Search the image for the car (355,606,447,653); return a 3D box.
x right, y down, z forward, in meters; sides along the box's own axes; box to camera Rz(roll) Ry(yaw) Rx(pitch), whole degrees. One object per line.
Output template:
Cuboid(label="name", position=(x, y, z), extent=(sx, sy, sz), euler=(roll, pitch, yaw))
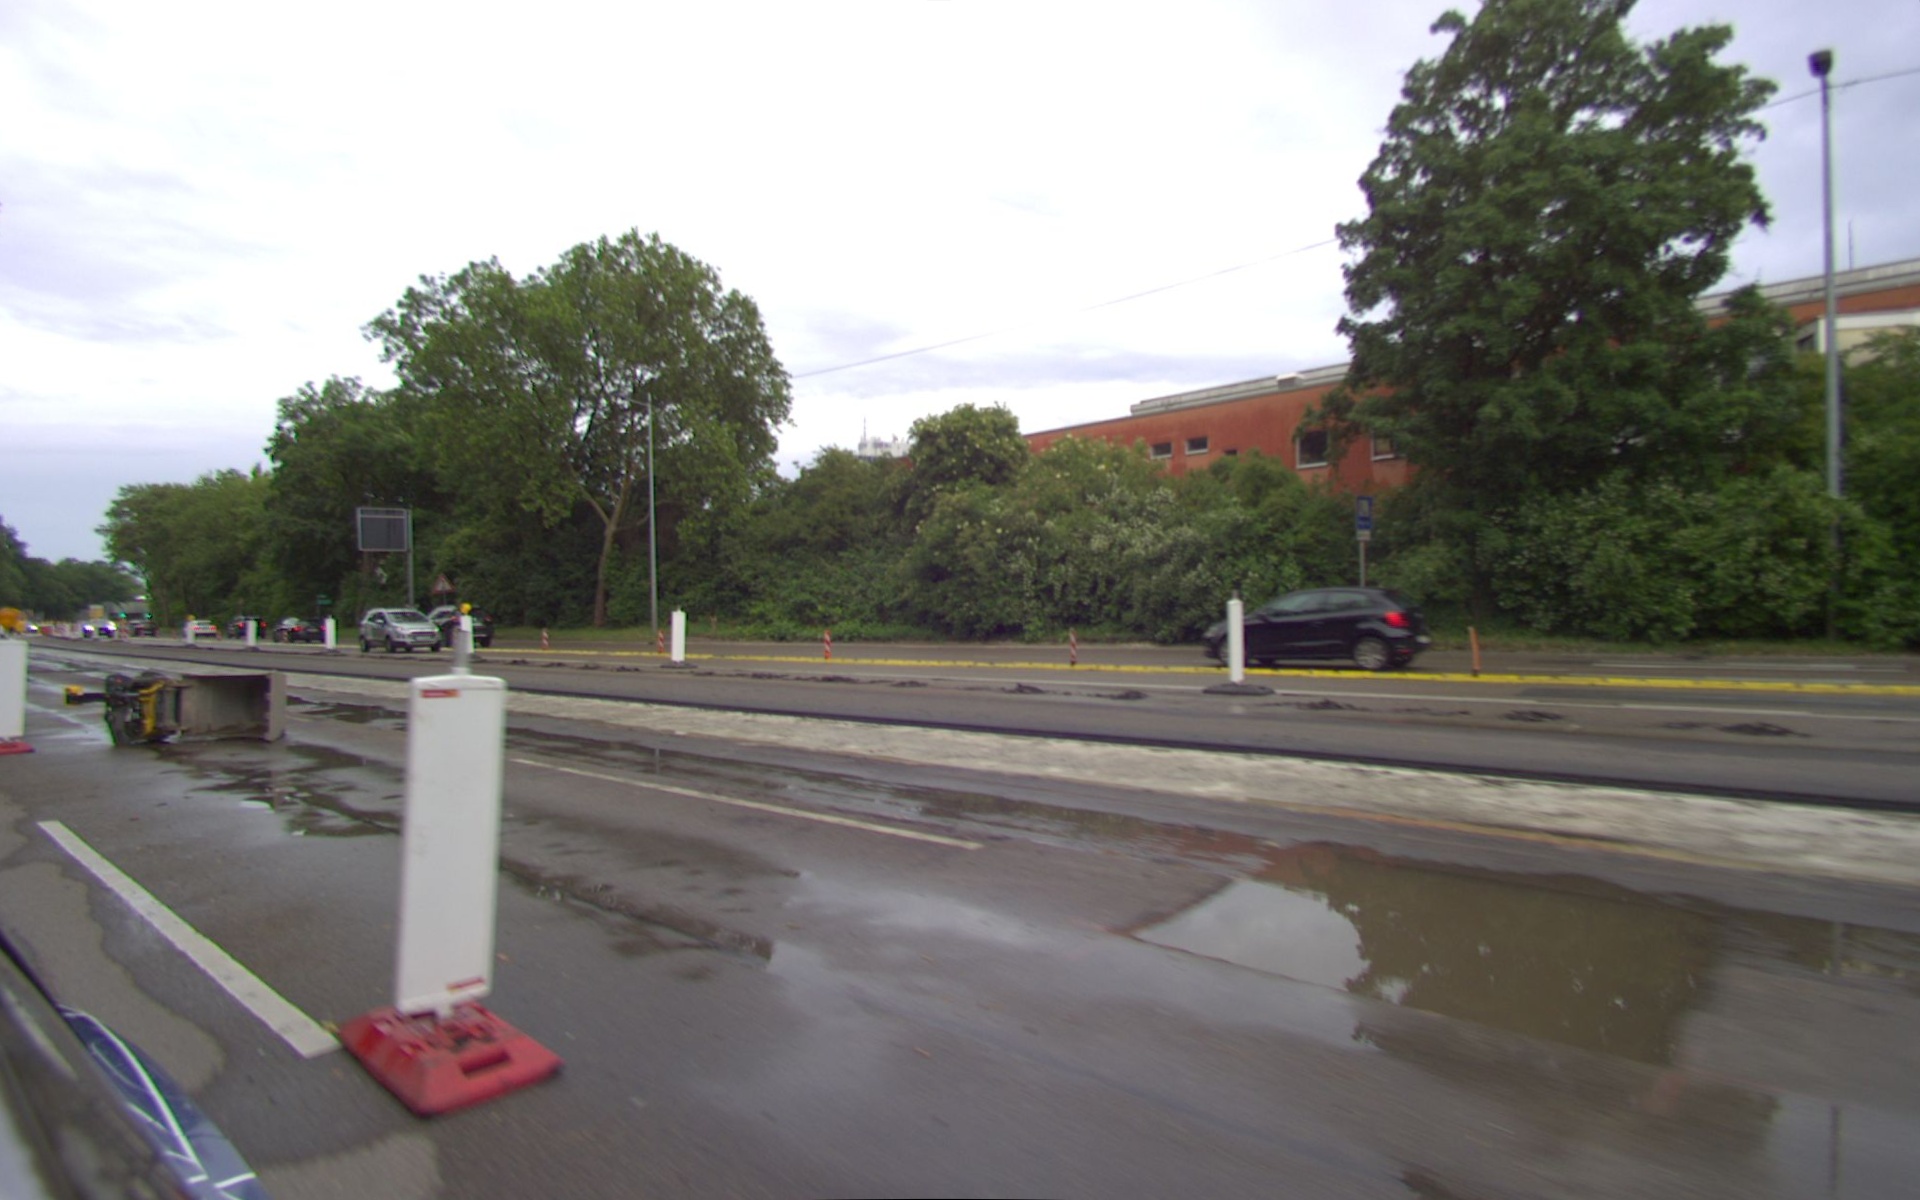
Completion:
Cuboid(label="car", position=(-20.433, 1.053, 36.946), extent=(3.860, 1.596, 1.770), euler=(-1, 0, 42))

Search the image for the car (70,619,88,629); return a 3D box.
Cuboid(label="car", position=(-147.227, 3.985, 169.119), extent=(4.914, 1.676, 1.757), euler=(-1, -2, 42))

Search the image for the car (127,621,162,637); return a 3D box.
Cuboid(label="car", position=(-74.701, 2.666, 92.676), extent=(4.203, 1.366, 1.799), euler=(-2, -2, 41))

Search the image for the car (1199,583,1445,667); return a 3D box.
Cuboid(label="car", position=(6.349, 0.430, 17.967), extent=(3.856, 1.342, 1.434), euler=(-1, 0, 39))

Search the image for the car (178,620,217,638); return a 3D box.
Cuboid(label="car", position=(-65.334, 2.489, 86.668), extent=(4.600, 1.430, 1.799), euler=(-2, 0, 41))

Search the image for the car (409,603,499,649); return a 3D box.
Cuboid(label="car", position=(-20.777, 1.054, 41.494), extent=(4.491, 1.735, 1.717), euler=(-1, 0, 41))

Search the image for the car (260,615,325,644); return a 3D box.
Cuboid(label="car", position=(-37.118, 1.629, 56.215), extent=(4.897, 1.495, 1.742), euler=(-1, 0, 41))

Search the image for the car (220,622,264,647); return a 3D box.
Cuboid(label="car", position=(-52.832, 2.506, 74.436), extent=(4.531, 1.698, 1.636), euler=(-2, 0, 41))
